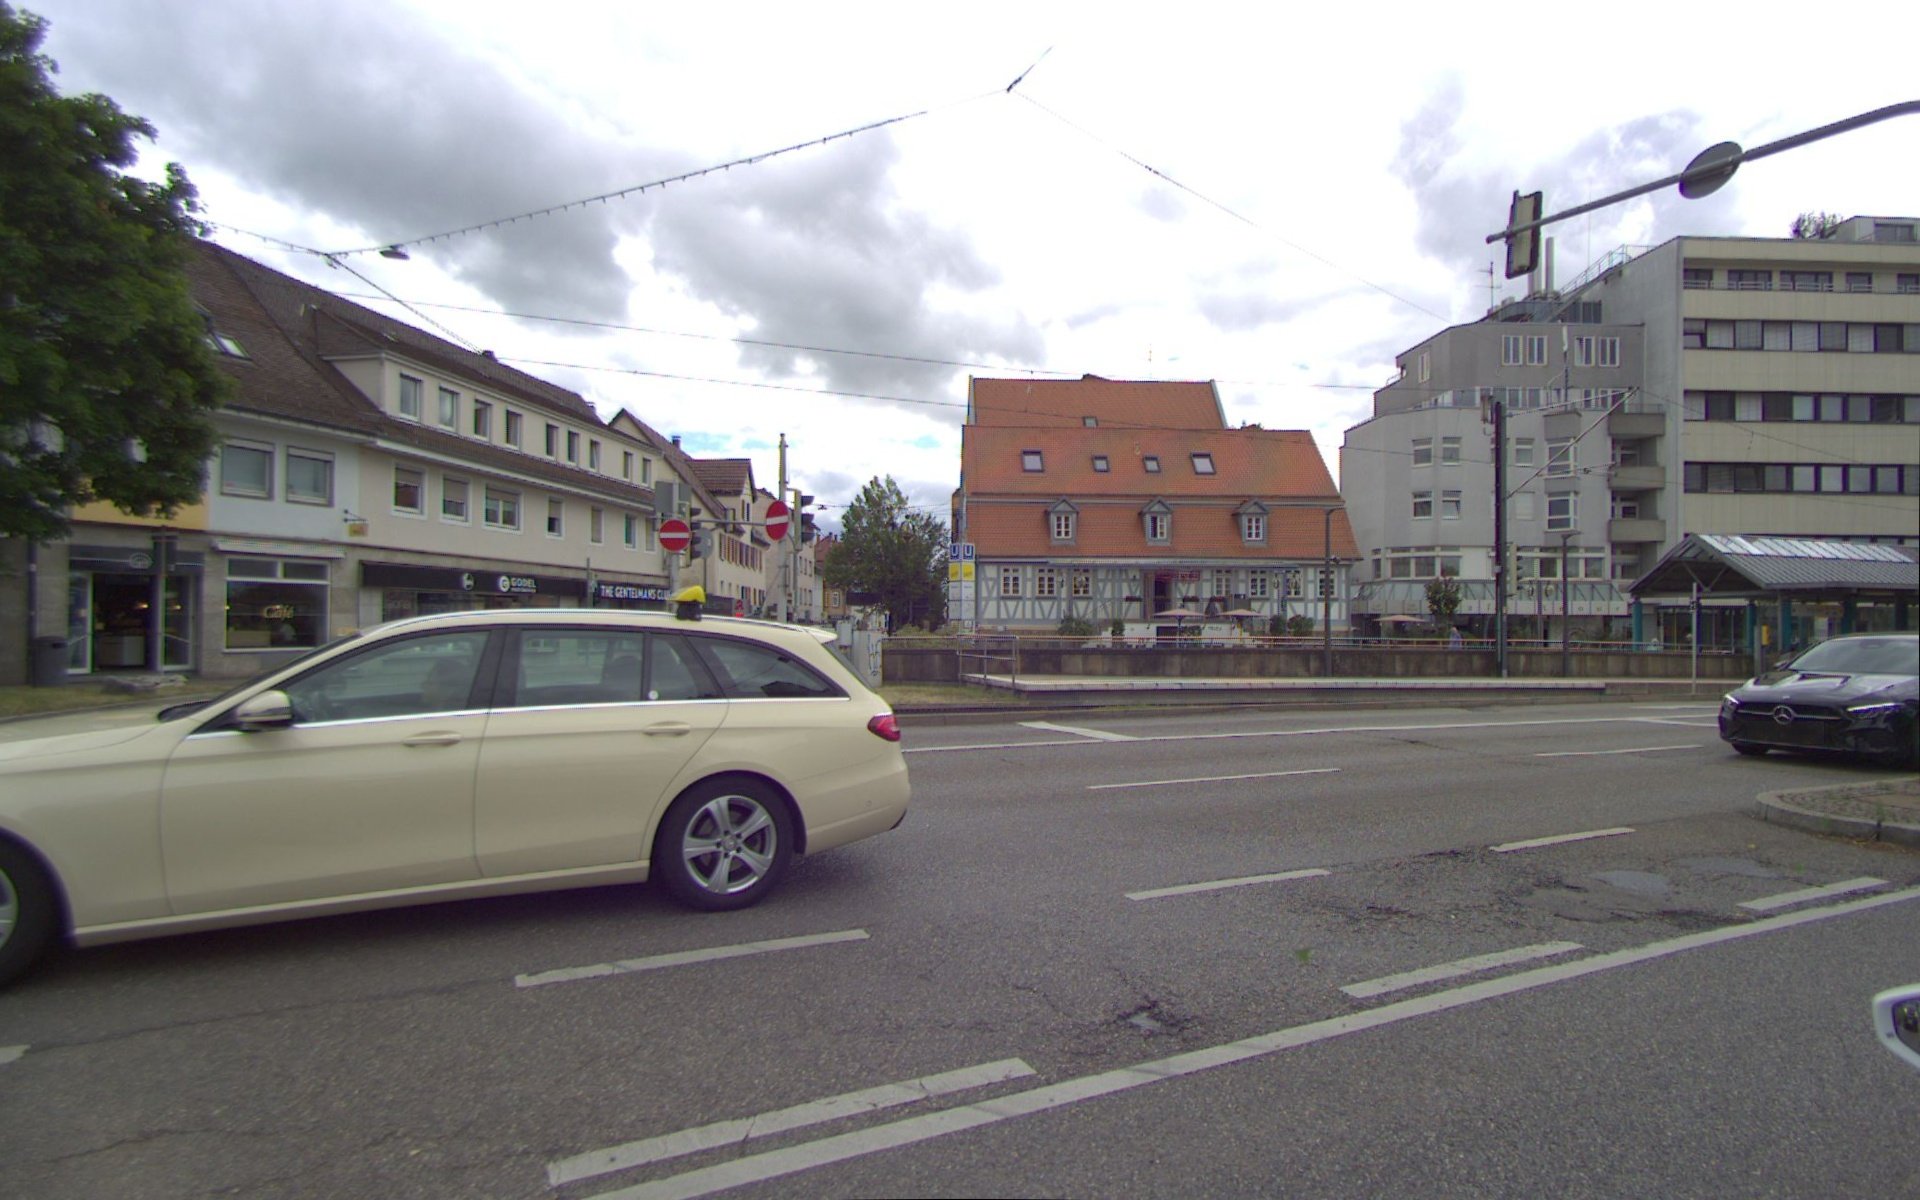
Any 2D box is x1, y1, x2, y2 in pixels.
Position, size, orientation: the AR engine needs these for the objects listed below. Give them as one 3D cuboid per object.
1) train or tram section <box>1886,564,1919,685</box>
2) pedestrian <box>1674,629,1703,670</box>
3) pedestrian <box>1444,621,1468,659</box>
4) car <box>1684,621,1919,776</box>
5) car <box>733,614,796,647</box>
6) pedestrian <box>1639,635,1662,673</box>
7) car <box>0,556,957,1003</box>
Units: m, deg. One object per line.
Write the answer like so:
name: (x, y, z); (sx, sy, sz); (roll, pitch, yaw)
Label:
train or tram section: (34.537, 0.832, 31.717); (11.820, 3.632, 2.754); (1, -1, -20)
pedestrian: (32.166, 2.179, 44.368); (0.641, 1.758, 0.809); (1, -1, -18)
pedestrian: (21.581, 1.740, 43.732); (0.687, 1.604, 0.650); (1, -1, -7)
car: (10.803, 1.020, 11.642); (4.711, 1.478, 1.987); (1, -1, -27)
car: (-10.445, 1.639, 54.012); (1.959, 1.673, 4.077); (0, -2, 11)
pedestrian: (29.550, 2.318, 42.975); (0.595, 1.604, 0.645); (1, -1, -33)
car: (-2.559, 0.689, 5.159); (4.753, 1.615, 1.905); (1, -1, -27)
